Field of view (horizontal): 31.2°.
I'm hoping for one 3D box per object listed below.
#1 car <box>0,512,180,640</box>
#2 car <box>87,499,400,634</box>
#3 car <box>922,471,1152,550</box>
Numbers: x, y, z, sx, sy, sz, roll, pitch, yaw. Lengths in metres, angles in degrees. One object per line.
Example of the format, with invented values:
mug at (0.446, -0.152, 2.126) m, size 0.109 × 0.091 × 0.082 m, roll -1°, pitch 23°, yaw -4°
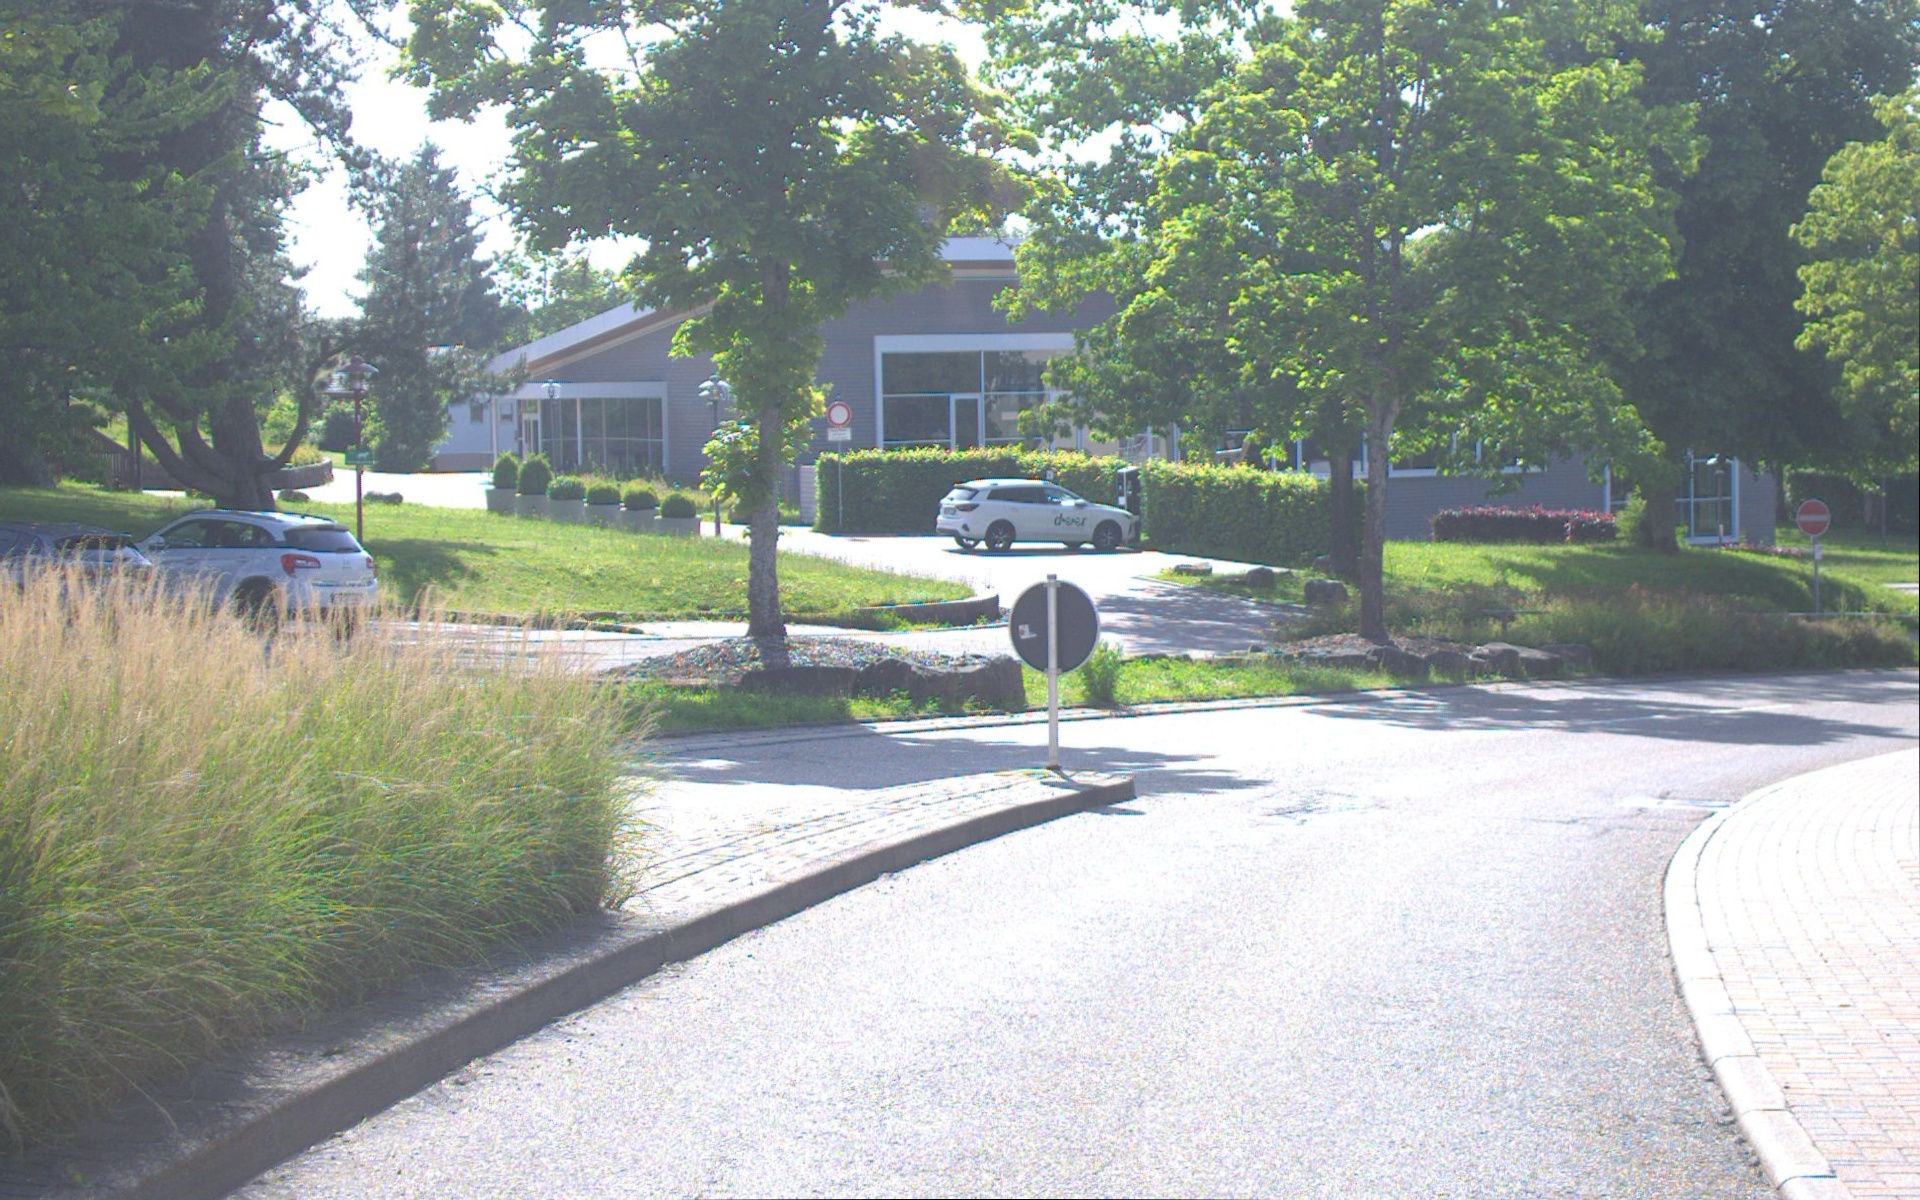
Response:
car at (-11.674, -0.339, 42.606) m, size 3.709 × 1.428 × 1.773 m, roll 4°, pitch 2°, yaw 33°
car at (-9.639, -0.459, 46.164) m, size 3.936 × 1.603 × 1.773 m, roll 3°, pitch 2°, yaw 32°
car at (1.720, -2.018, 77.025) m, size 4.714 × 1.528 × 2.001 m, roll -2°, pitch 7°, yaw -24°
